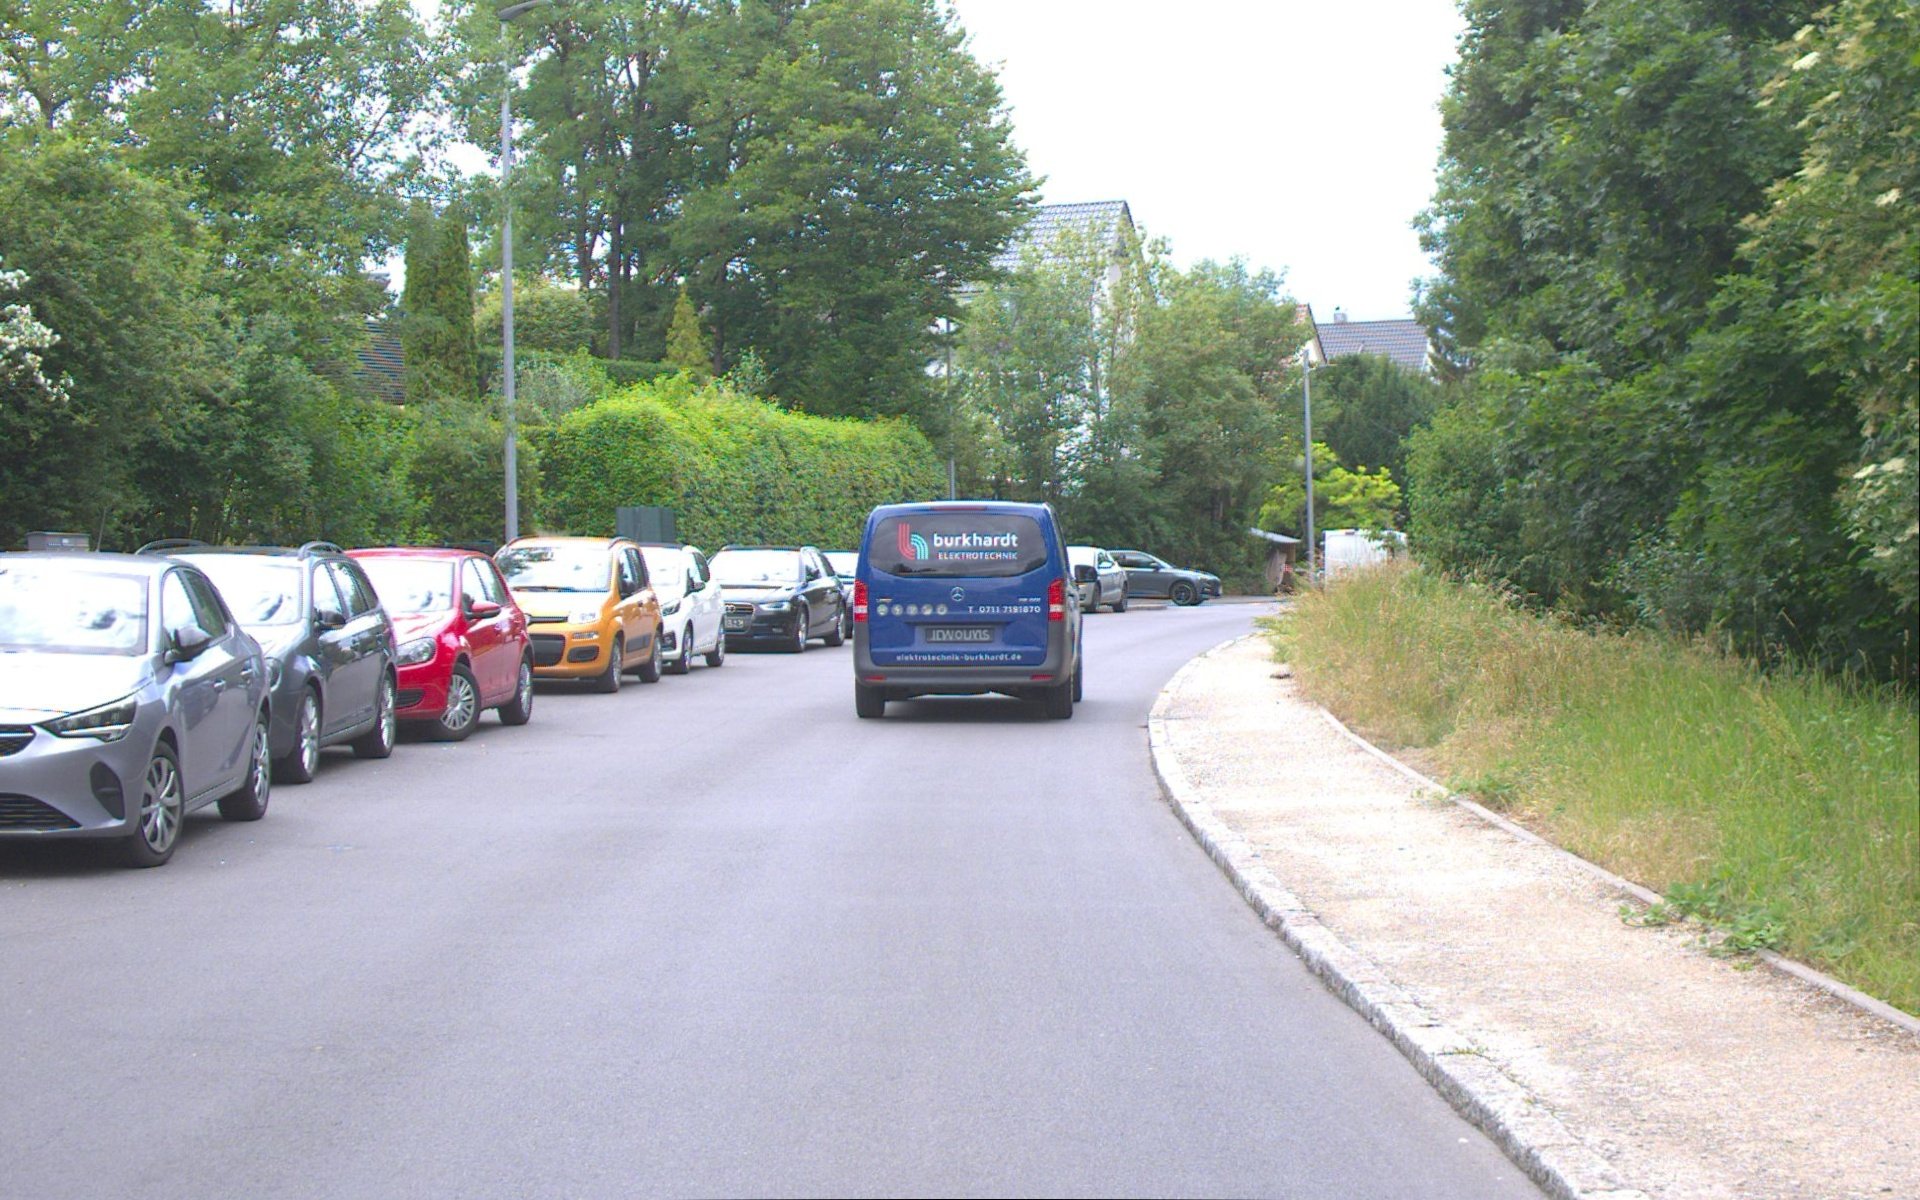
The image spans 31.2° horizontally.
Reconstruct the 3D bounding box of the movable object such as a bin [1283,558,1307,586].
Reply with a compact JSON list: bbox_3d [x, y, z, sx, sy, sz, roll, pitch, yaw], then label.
[{"bbox_3d":[11.211,-0.940,114.991,0.591,0.906,0.700,1,0,23],"label":"movable object such as a bin"}]

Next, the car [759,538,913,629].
[{"bbox_3d":[-1.892,-0.281,53.664,1.712,1.336,4.107,1,1,8],"label":"car"}]

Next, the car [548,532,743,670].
[{"bbox_3d":[-3.580,-0.021,39.651,1.588,1.509,3.590,0,1,6],"label":"car"}]

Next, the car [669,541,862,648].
[{"bbox_3d":[-2.614,-0.116,47.231,1.719,1.380,4.662,1,1,9],"label":"car"}]

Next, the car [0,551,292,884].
[{"bbox_3d":[-4.492,0.478,16.894,1.707,1.405,4.161,0,1,-1],"label":"car"}]

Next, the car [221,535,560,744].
[{"bbox_3d":[-4.412,0.244,27.247,1.707,1.509,4.363,0,1,4],"label":"car"}]

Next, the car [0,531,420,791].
[{"bbox_3d":[-4.783,0.313,22.397,1.707,1.509,4.495,0,1,2],"label":"car"}]

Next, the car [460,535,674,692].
[{"bbox_3d":[-3.958,0.098,35.095,1.544,1.509,3.644,0,1,4],"label":"car"}]

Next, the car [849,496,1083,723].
[{"bbox_3d":[0.031,0.034,30.838,1.936,1.873,4.531,0,1,0],"label":"car"}]

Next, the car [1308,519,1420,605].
[{"bbox_3d":[10.136,-0.954,85.898,2.207,2.056,6.131,0,1,12],"label":"car"}]

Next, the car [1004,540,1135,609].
[{"bbox_3d":[2.344,-0.554,72.516,1.832,1.369,4.442,1,1,14],"label":"car"}]

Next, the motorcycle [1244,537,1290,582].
[{"bbox_3d":[10.115,-1.326,113.182,0.810,1.480,2.893,1,0,19],"label":"motorcycle"}]

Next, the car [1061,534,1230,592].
[{"bbox_3d":[4.900,-0.971,90.531,4.169,1.442,1.739,1,0,14],"label":"car"}]
